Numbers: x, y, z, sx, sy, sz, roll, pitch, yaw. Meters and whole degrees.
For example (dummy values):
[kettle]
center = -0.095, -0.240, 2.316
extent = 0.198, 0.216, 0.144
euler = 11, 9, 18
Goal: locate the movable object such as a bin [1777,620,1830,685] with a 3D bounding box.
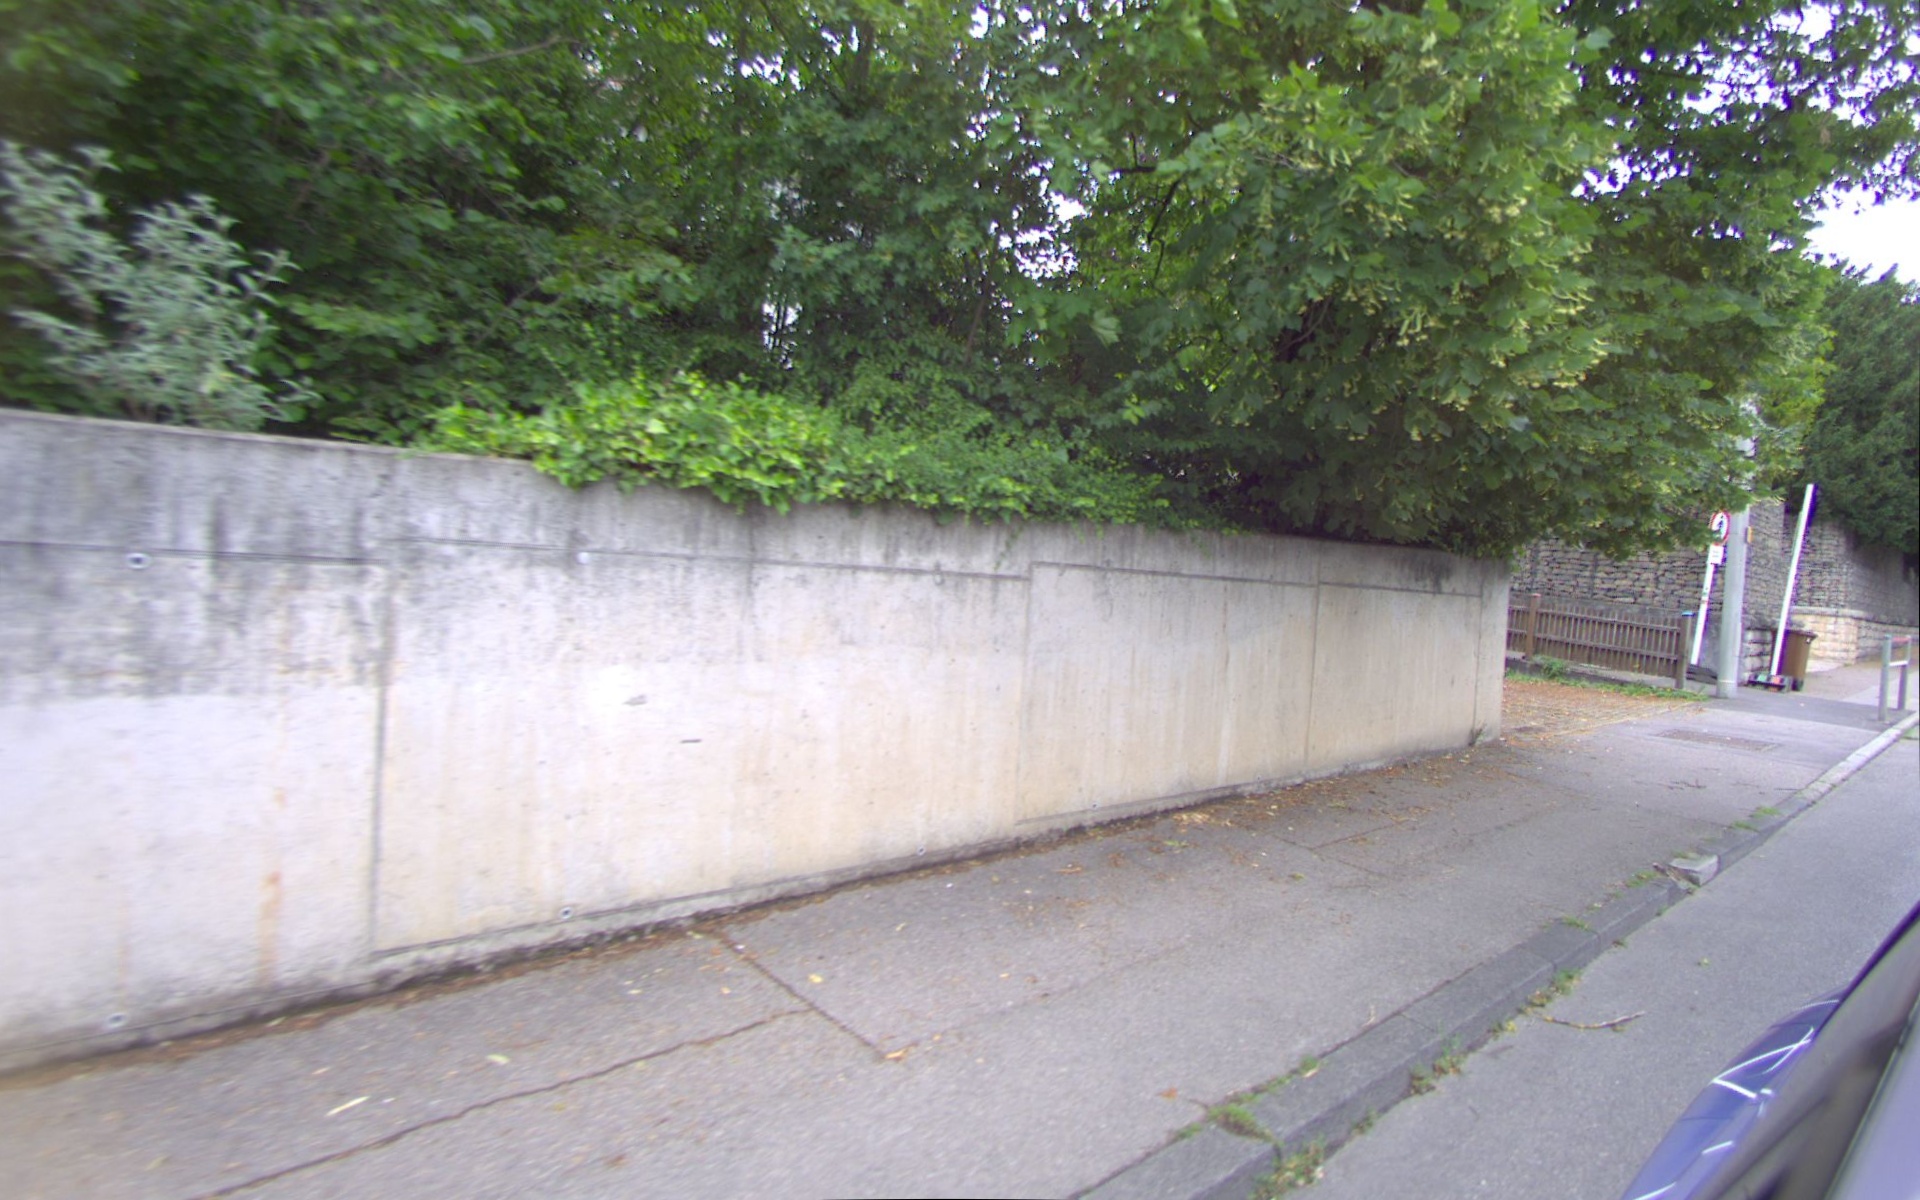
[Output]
[movable object such as a bin]
center = 12.536, 0.775, 15.045
extent = 0.386, 0.921, 0.447
euler = 2, 3, -31
